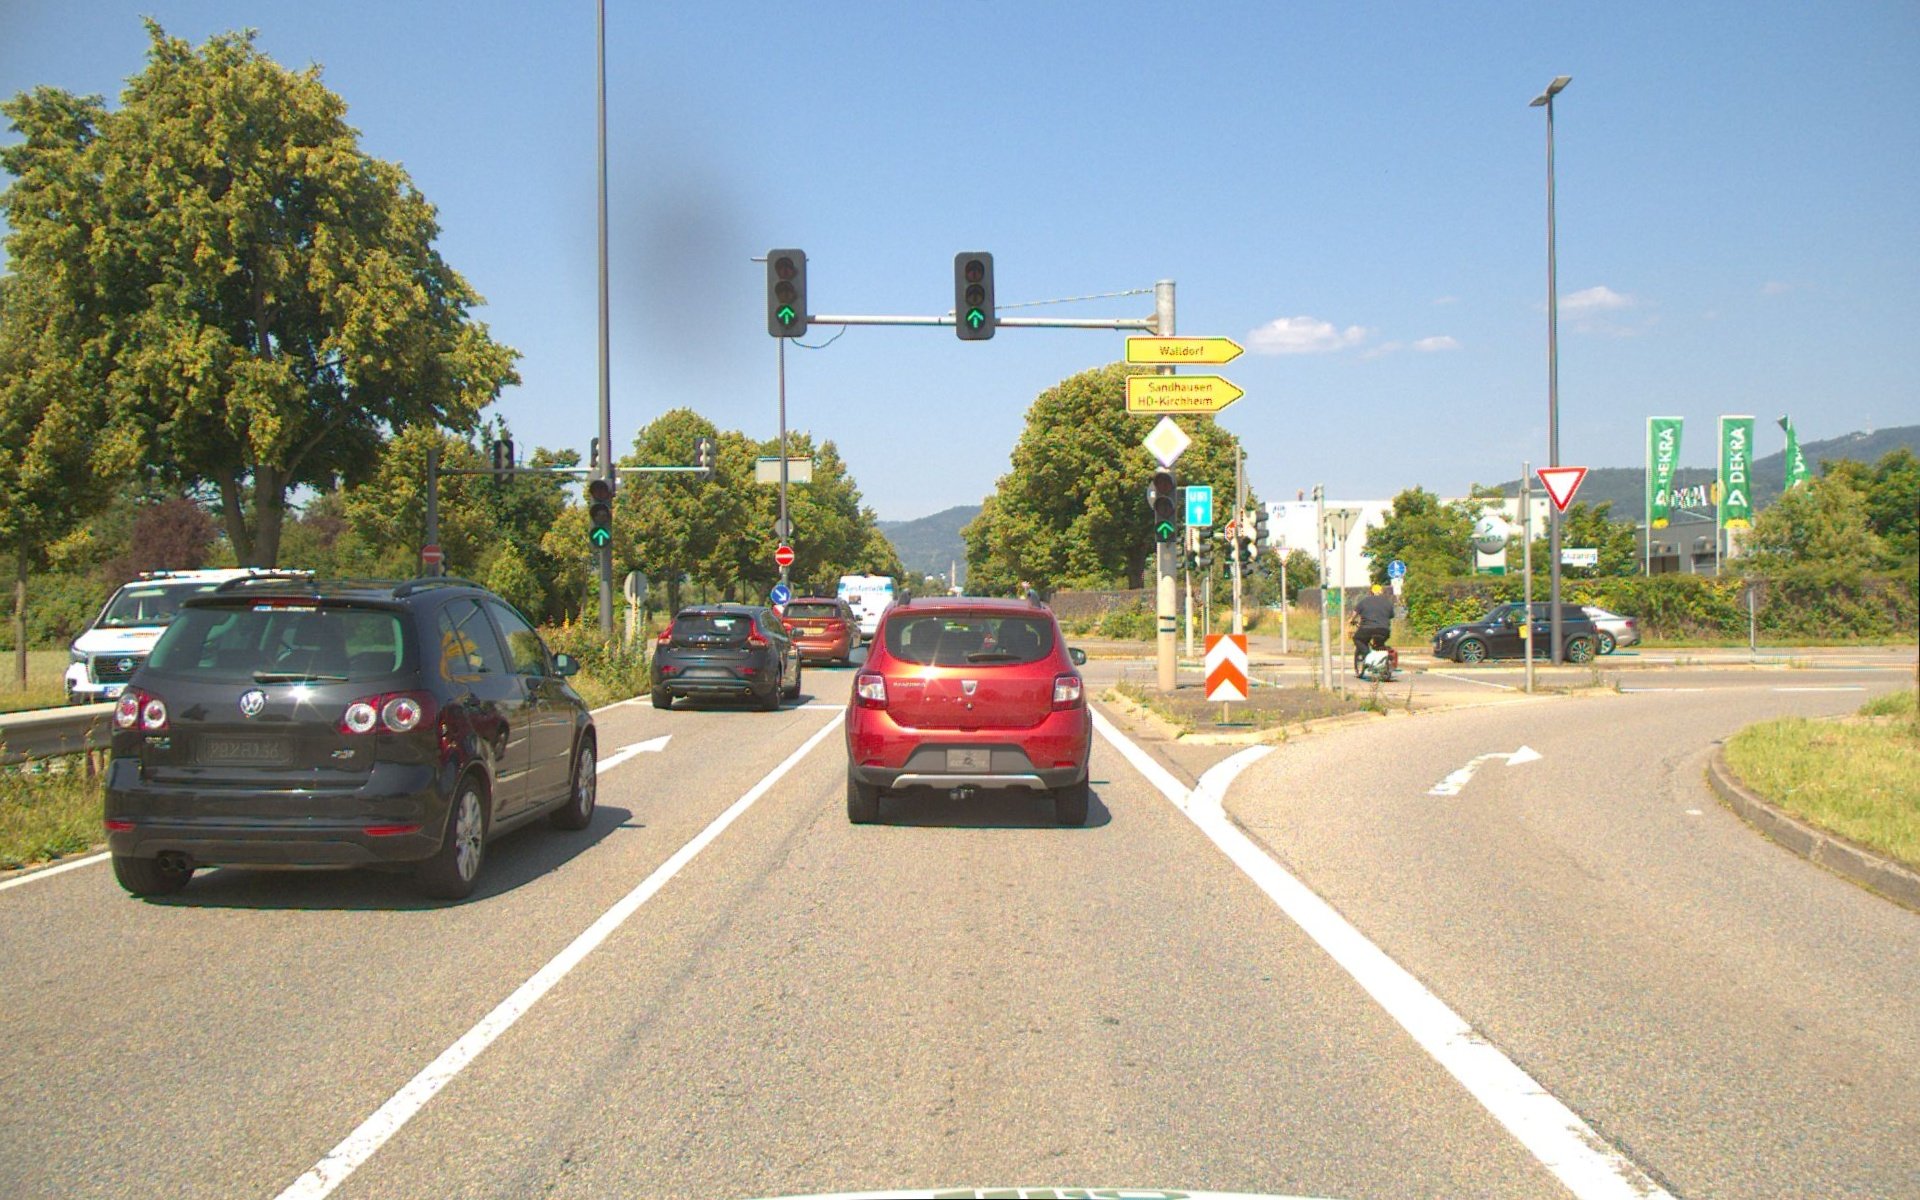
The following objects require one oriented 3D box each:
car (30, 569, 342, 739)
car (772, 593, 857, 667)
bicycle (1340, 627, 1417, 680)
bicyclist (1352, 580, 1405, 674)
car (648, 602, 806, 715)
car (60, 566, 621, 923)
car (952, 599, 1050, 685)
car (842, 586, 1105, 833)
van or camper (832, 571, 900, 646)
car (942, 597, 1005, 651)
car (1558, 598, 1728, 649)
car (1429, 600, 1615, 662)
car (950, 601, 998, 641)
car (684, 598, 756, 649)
[{"bbox_3d":[-10.281,0.648,22.491,1.953,2.015,5.014,-1,0,-1],"label":"car"},{"bbox_3d":[-3.320,0.651,38.308,1.689,1.628,3.954,0,0,-1],"label":"car"},{"bbox_3d":[8.144,1.023,32.335,0.746,0.931,2.779,-1,0,-1],"label":"bicycle"},{"bbox_3d":[8.145,0.513,32.231,0.786,1.802,0.808,-1,0,-1],"label":"bicyclist"},{"bbox_3d":[-3.267,0.777,23.858,1.667,1.467,3.955,0,0,1],"label":"car"},{"bbox_3d":[-3.211,0.652,9.454,1.688,1.603,3.892,1,0,1],"label":"car"},{"bbox_3d":[0.763,0.734,30.813,1.713,1.483,3.677,0,0,1],"label":"car"},{"bbox_3d":[0.137,0.717,12.645,1.713,1.603,3.677,0,0,1],"label":"car"},{"bbox_3d":[-3.091,0.260,55.239,2.135,2.343,4.824,1,0,-2],"label":"van or camper"},{"bbox_3d":[0.418,0.661,47.481,1.713,1.483,3.677,0,0,1],"label":"car"},{"bbox_3d":[18.893,0.649,45.960,4.273,1.350,1.807,-1,0,20],"label":"car"},{"bbox_3d":[13.059,0.710,38.644,3.901,1.350,1.808,-1,0,11],"label":"car"},{"bbox_3d":[0.557,0.770,62.415,1.713,1.483,3.677,0,0,1],"label":"car"},{"bbox_3d":[-8.301,0.790,57.531,1.953,1.699,3.999,-1,0,-1],"label":"car"}]
